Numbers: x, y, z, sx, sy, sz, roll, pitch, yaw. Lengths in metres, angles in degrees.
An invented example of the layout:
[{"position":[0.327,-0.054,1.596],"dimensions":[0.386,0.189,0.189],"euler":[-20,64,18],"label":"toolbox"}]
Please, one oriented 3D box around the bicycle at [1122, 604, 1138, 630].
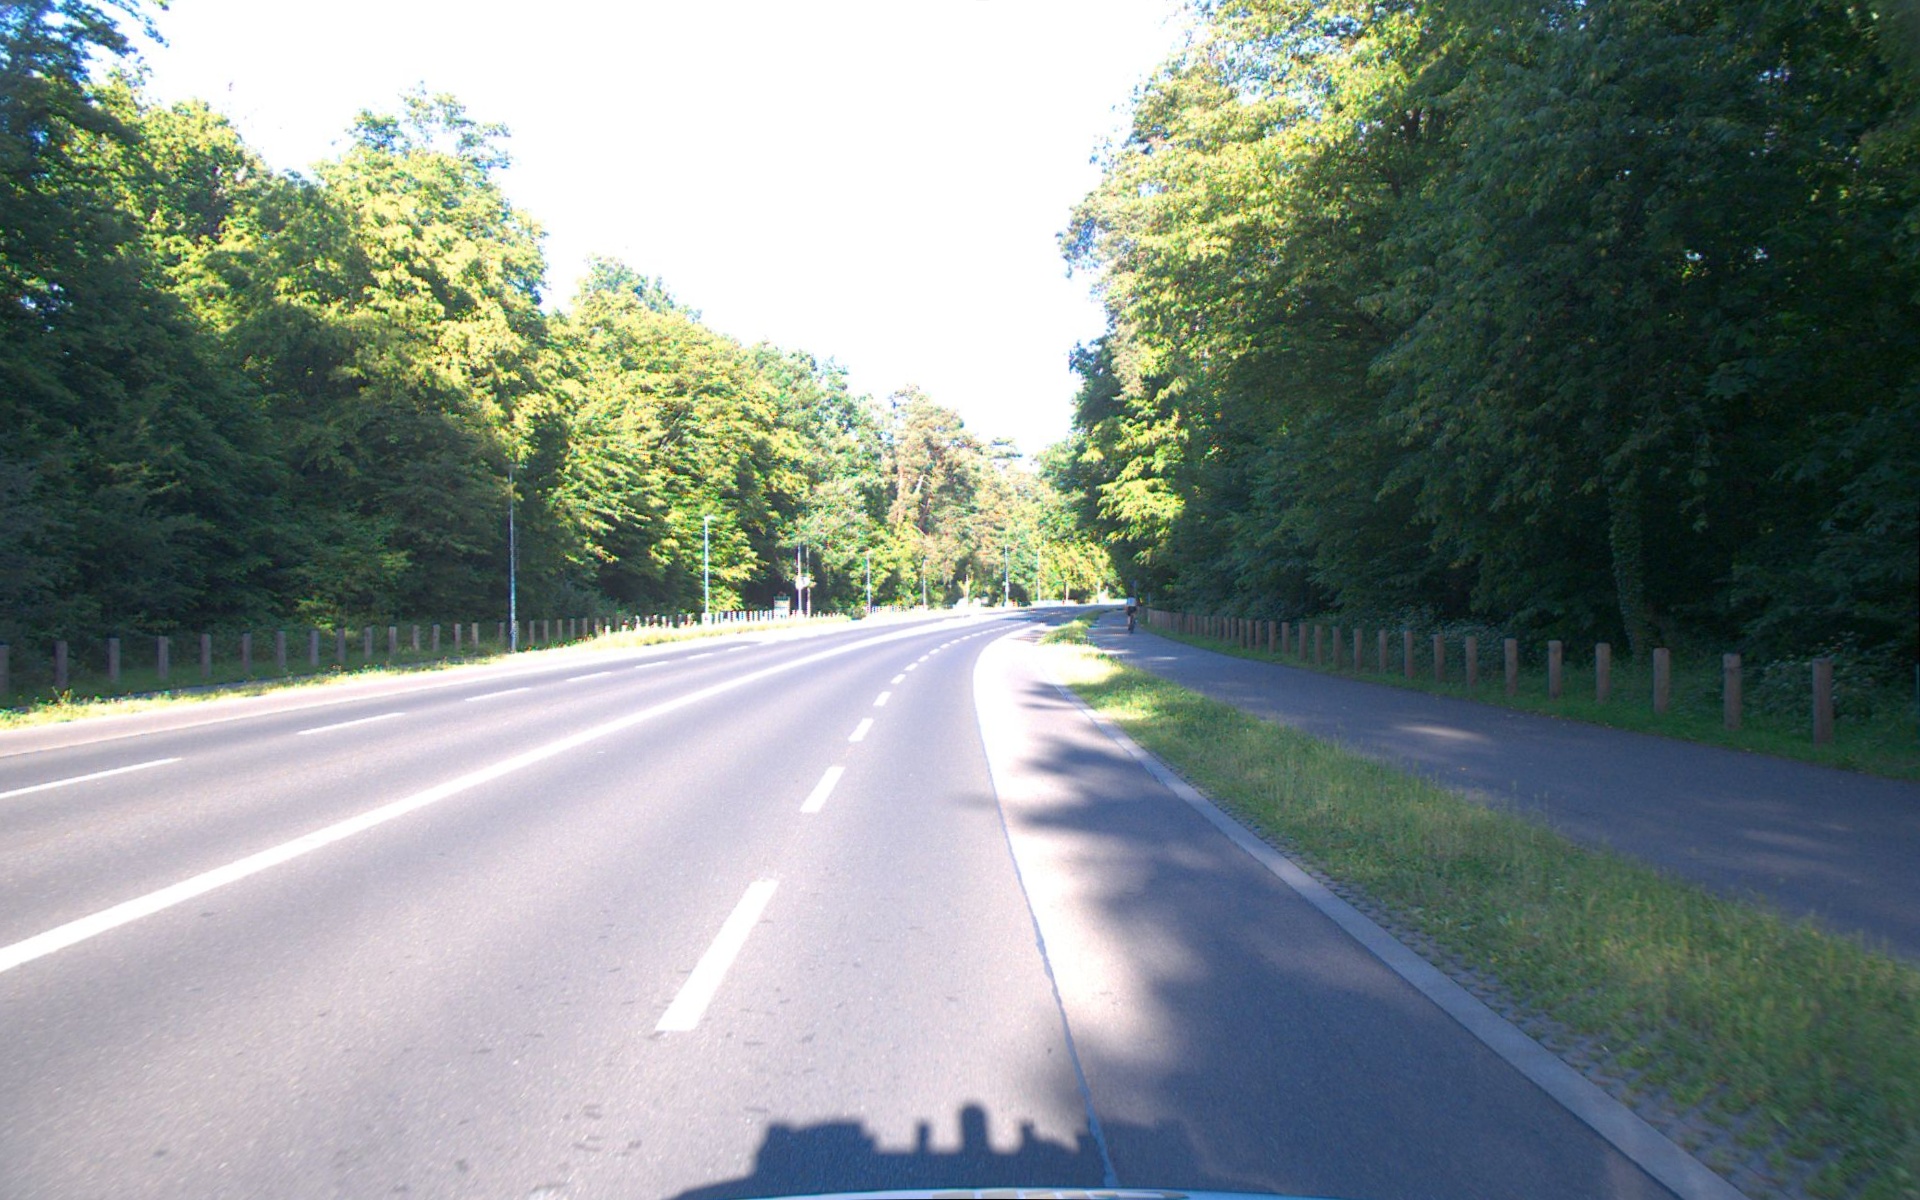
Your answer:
[{"position":[7.485,0.741,72.756],"dimensions":[0.697,1.074,2.054],"euler":[-1,1,6],"label":"bicycle"}]
